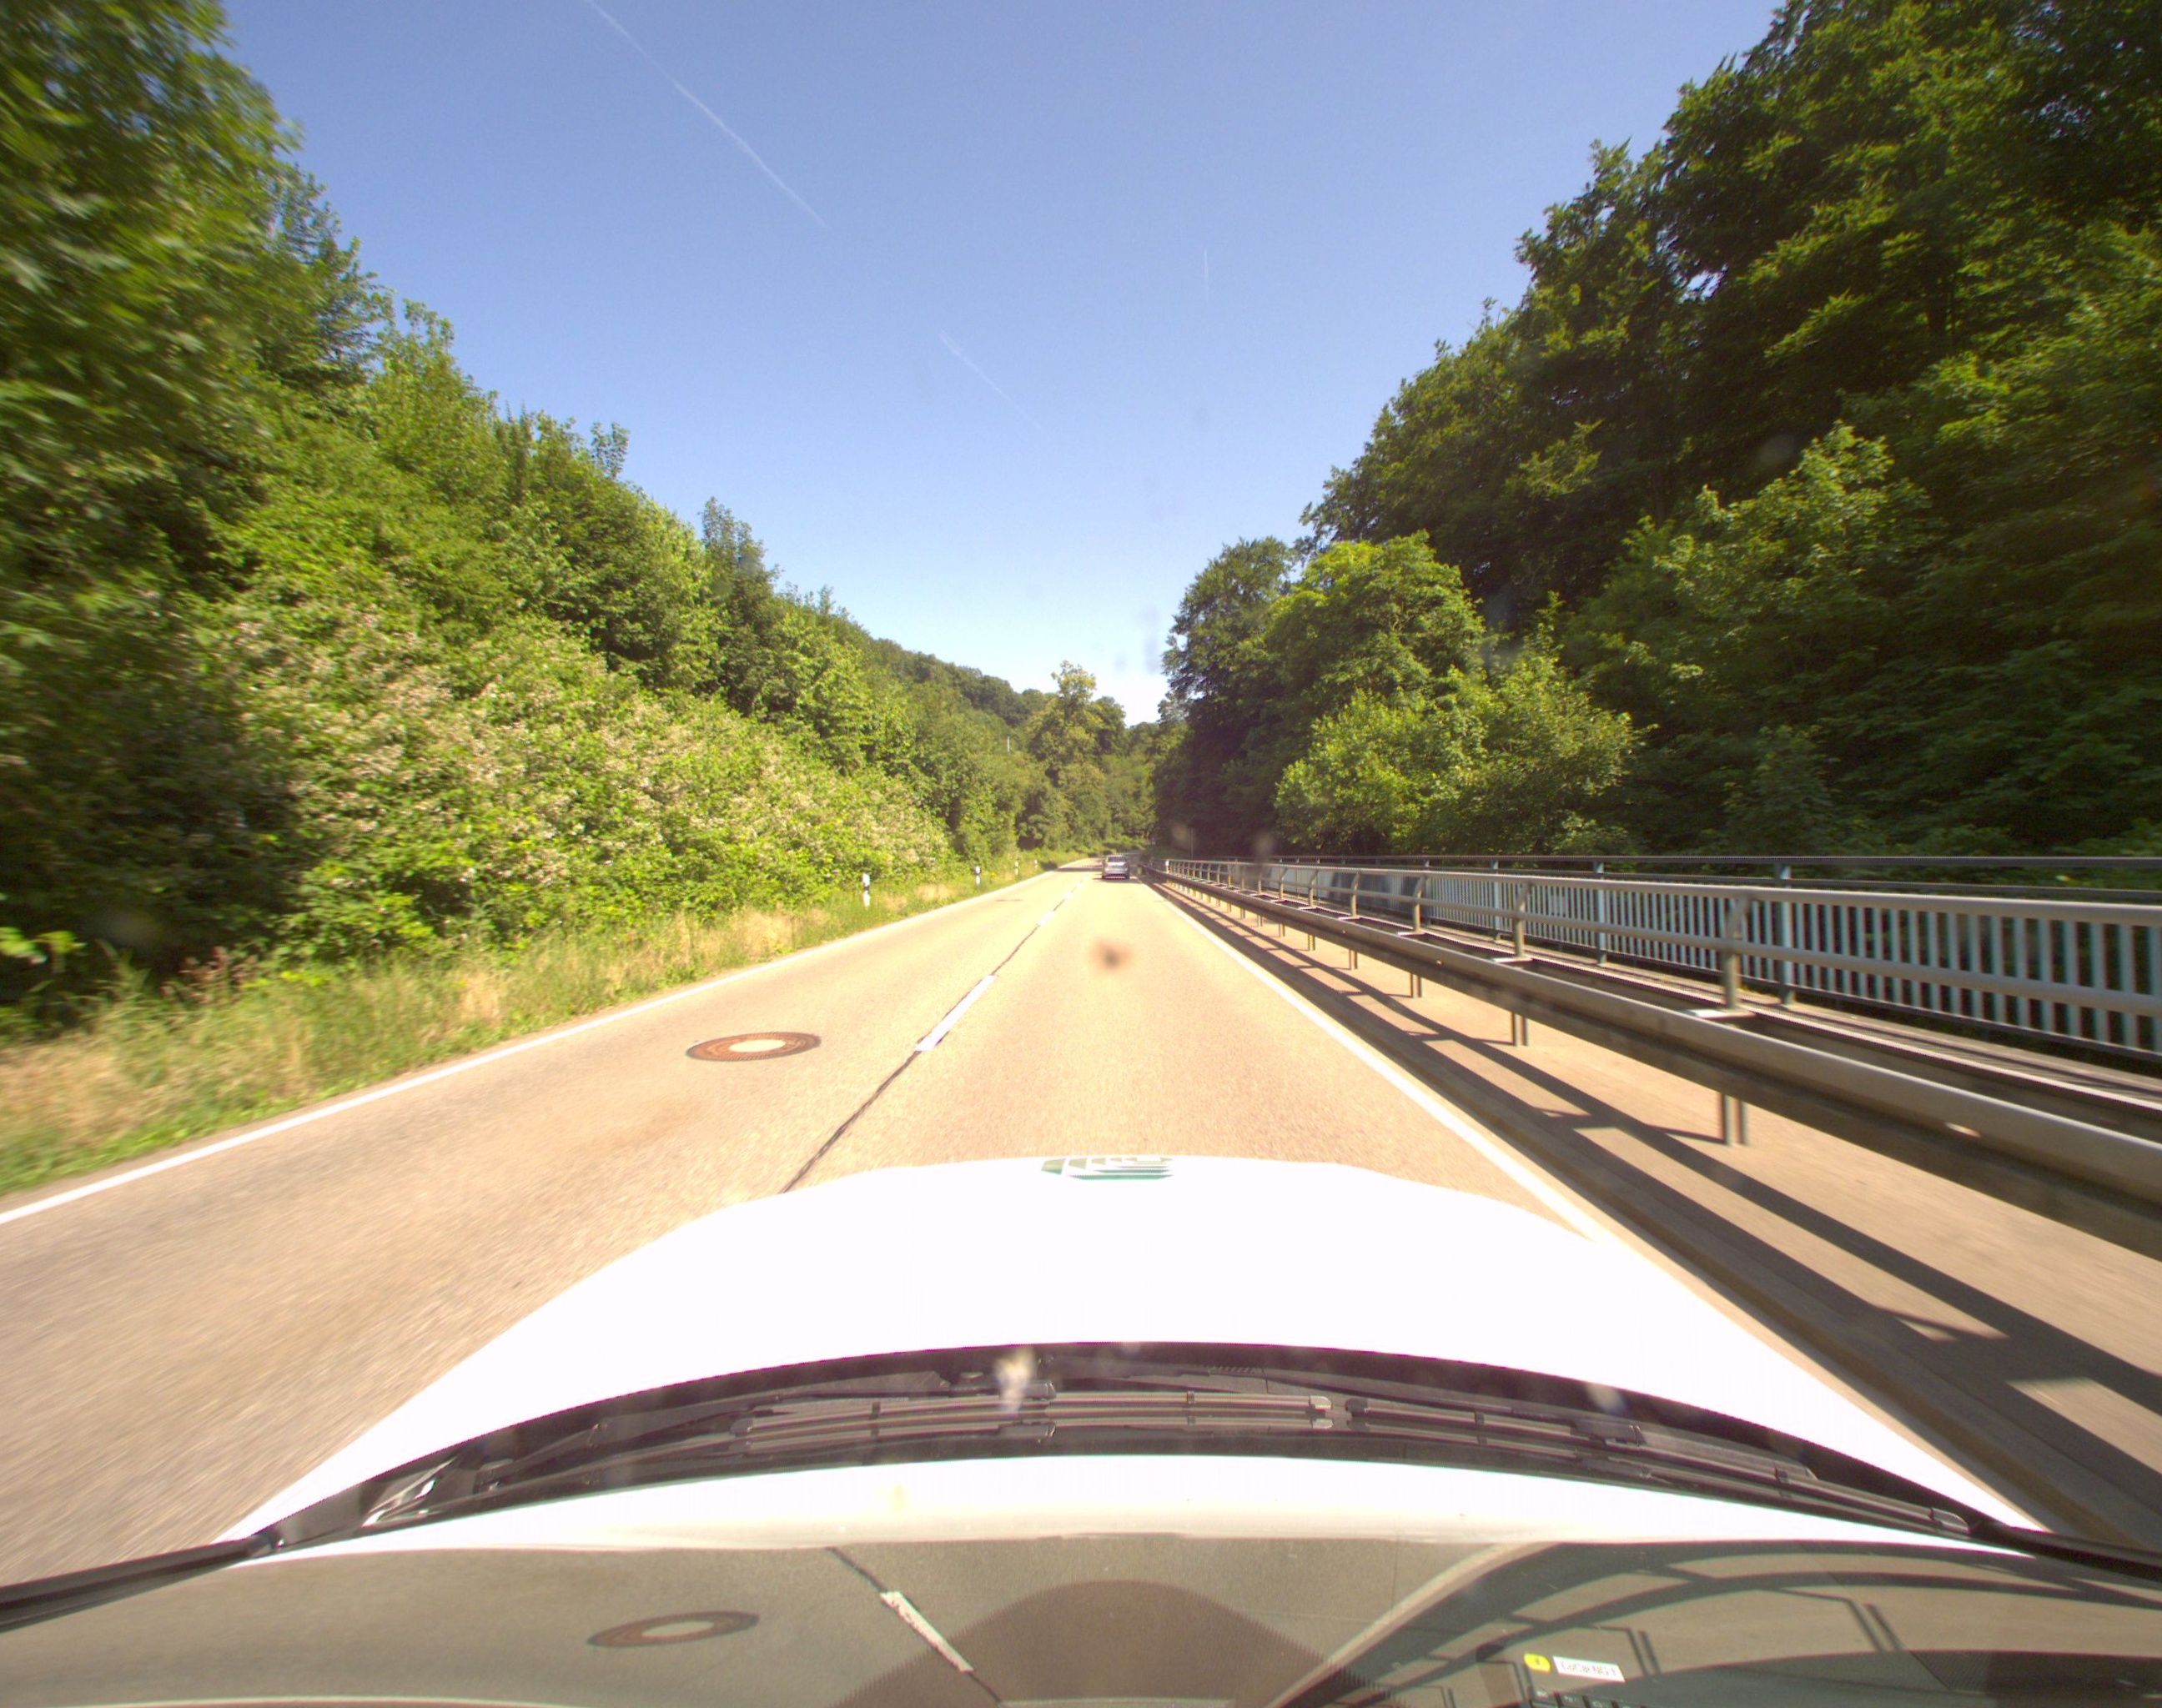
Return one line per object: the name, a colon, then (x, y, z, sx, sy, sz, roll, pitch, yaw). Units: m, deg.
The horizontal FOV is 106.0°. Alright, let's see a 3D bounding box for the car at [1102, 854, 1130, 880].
car: (2.232, 0.803, 52.795, 1.745, 1.520, 4.161, 0, 1, 1)
